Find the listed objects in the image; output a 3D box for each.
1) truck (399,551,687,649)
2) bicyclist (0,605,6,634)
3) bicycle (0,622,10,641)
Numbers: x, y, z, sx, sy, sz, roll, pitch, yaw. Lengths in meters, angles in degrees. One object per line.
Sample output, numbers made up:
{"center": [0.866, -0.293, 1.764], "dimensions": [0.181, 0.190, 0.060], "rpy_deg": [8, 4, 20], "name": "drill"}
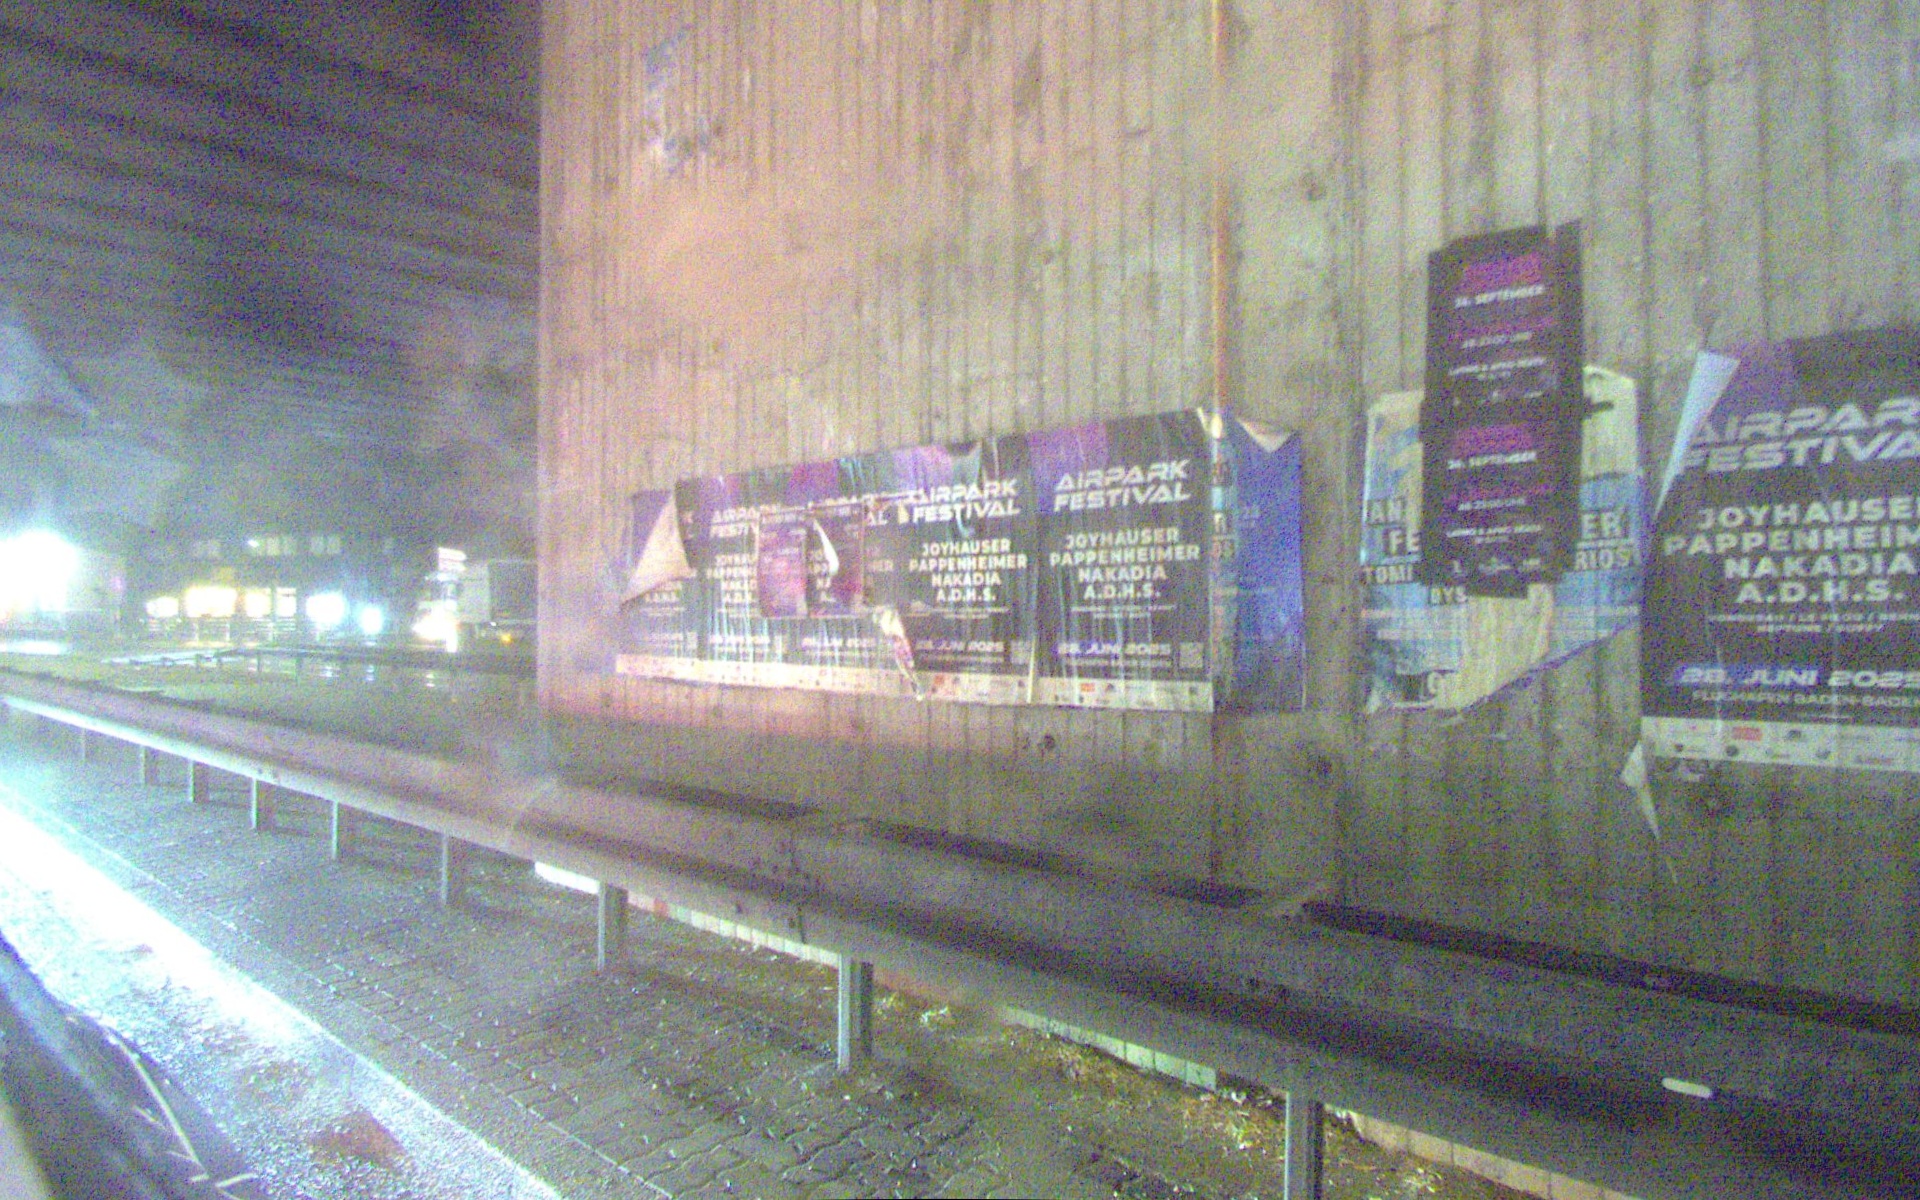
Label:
{"center": [-20.770, 0.033, 51.607], "dimensions": [13.480, 4.474, 2.746], "rpy_deg": [0, -1, -43], "name": "truck"}
{"center": [-48.132, 0.975, 50.340], "dimensions": [1.183, 1.446, 0.623], "rpy_deg": [0, -2, 28], "name": "bicyclist"}
{"center": [-48.152, 1.562, 50.332], "dimensions": [2.203, 0.912, 0.623], "rpy_deg": [0, -2, 28], "name": "bicycle"}
